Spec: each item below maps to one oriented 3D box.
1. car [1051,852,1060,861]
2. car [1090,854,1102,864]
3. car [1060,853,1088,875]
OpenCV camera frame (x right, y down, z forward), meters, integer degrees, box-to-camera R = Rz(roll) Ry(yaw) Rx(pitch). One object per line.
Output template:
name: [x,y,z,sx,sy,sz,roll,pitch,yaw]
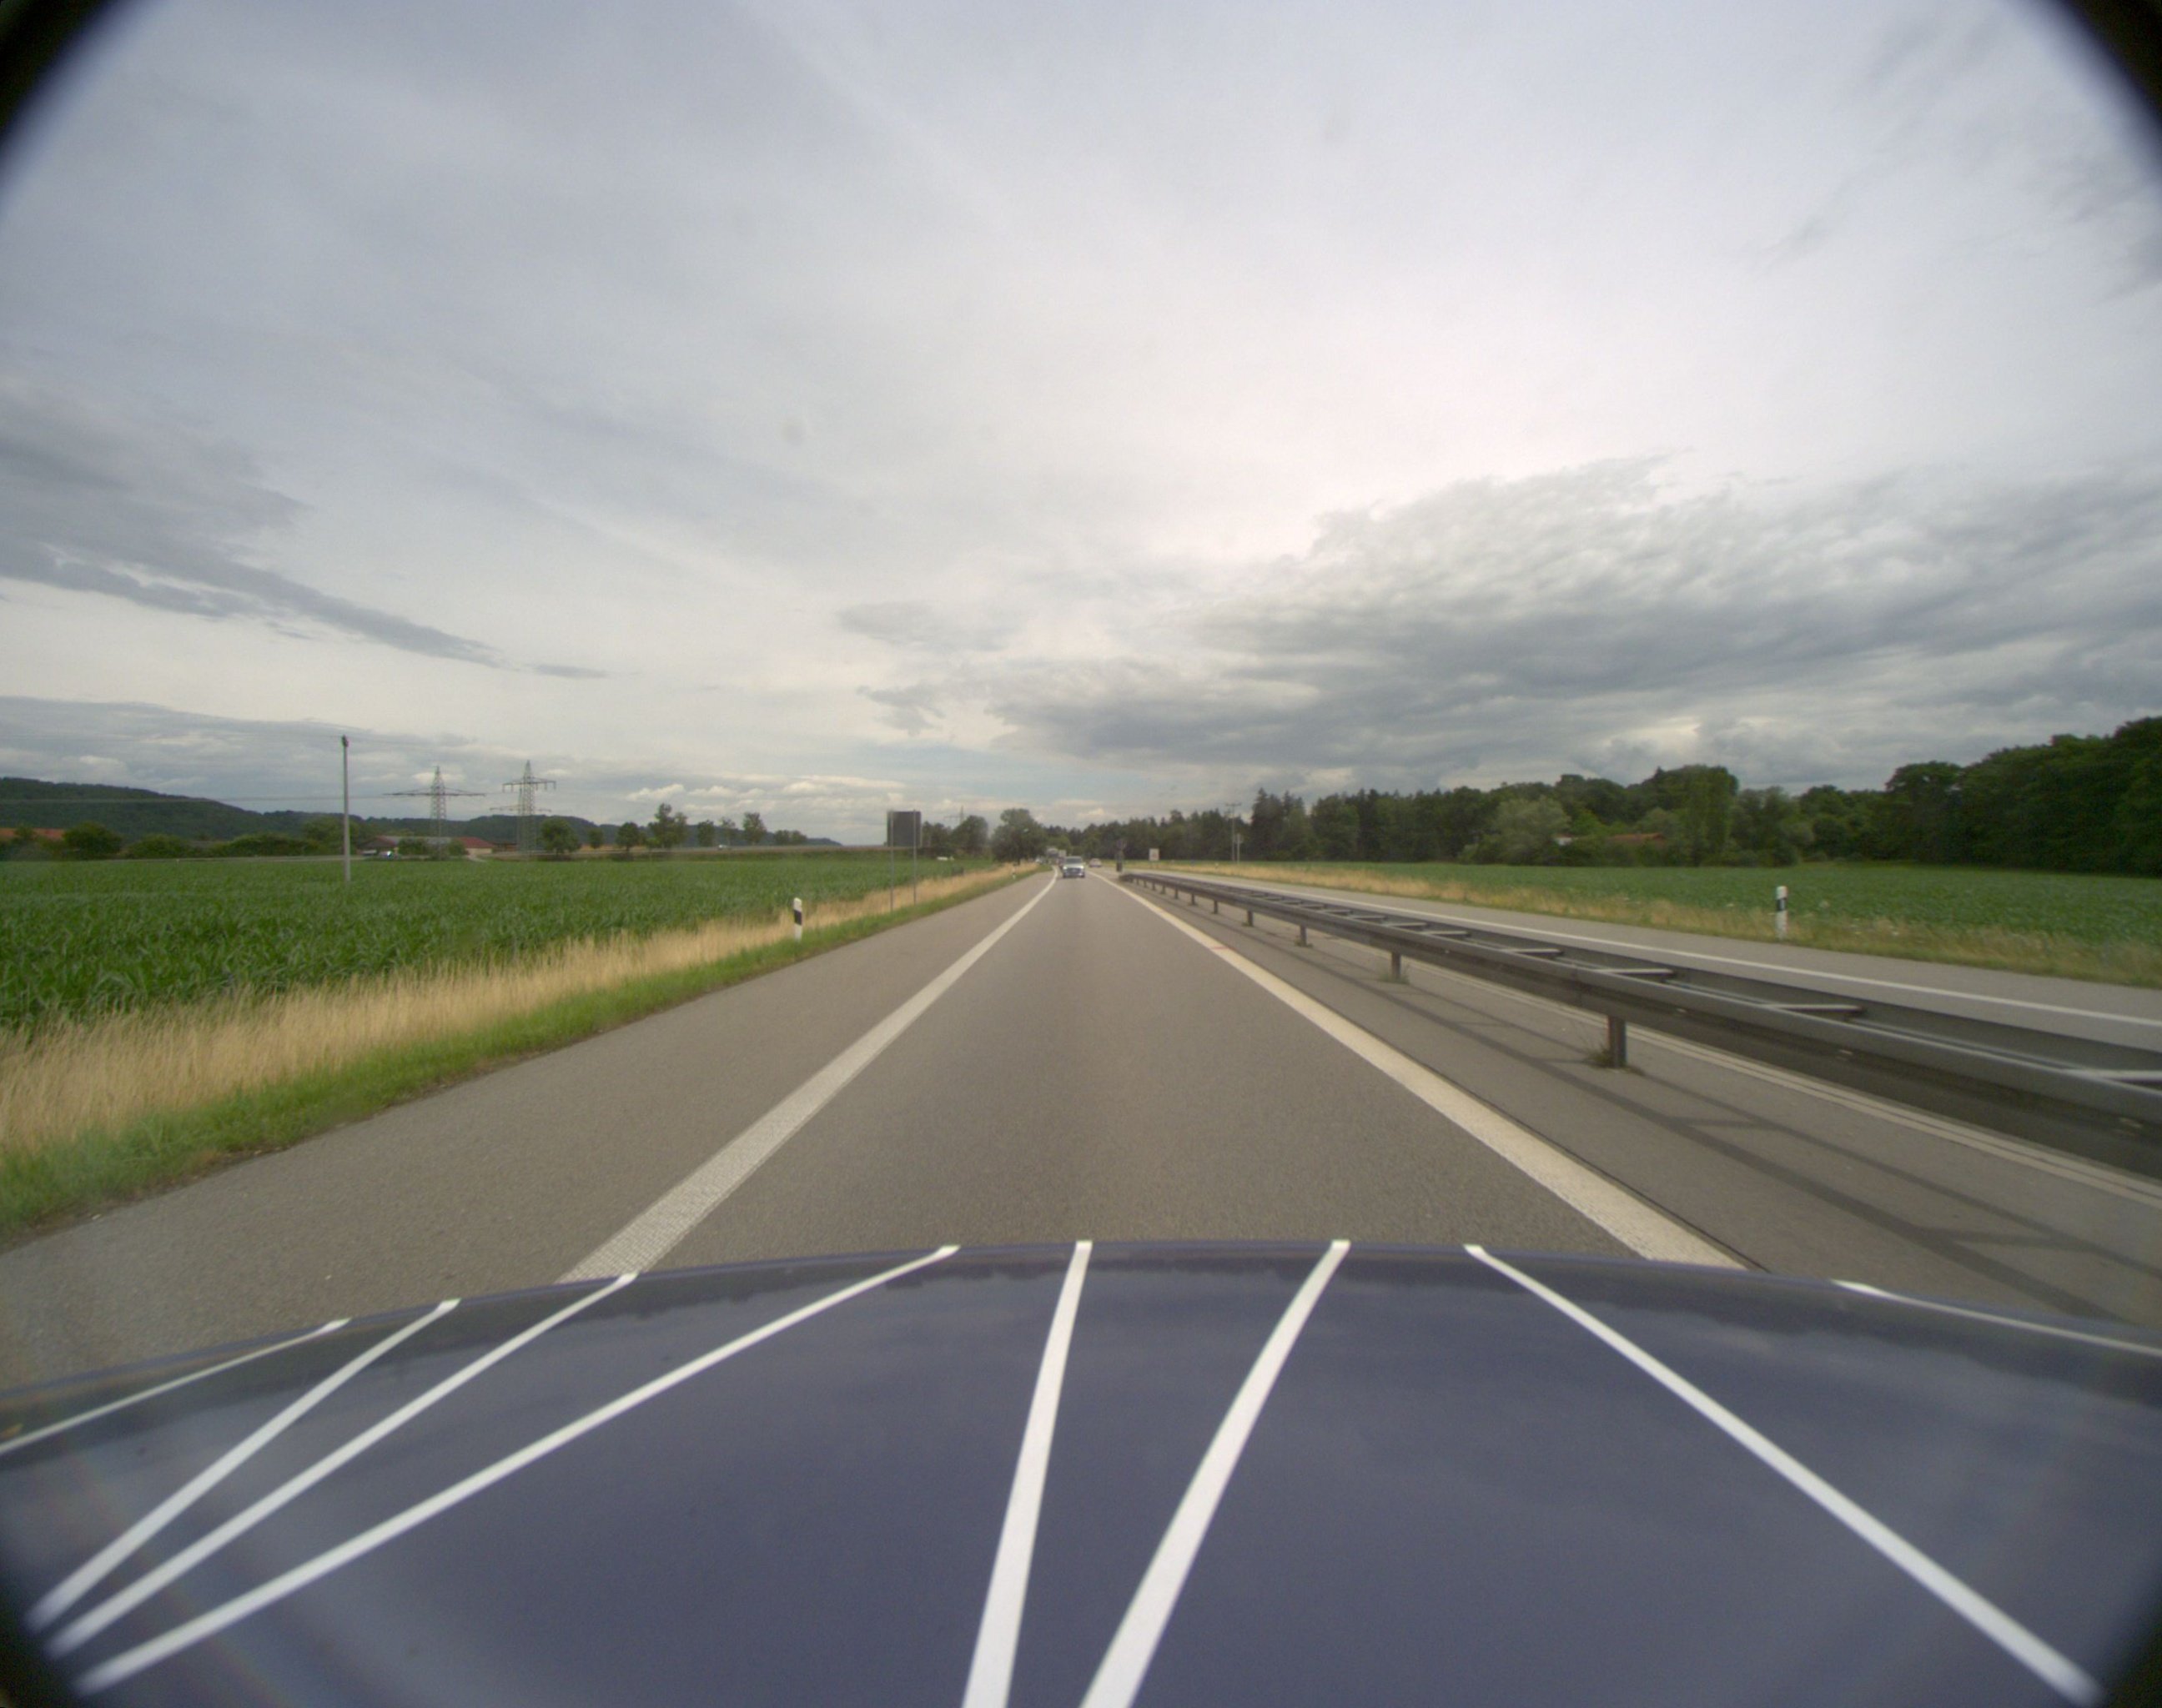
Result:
car: [-6.342,0.590,190.526,1.998,2.002,4.000,-2,1,1]
car: [2.656,0.895,133.739,1.822,1.623,4.600,-2,1,-3]
car: [-0.667,0.847,67.133,1.924,1.823,3.997,-2,1,-8]
